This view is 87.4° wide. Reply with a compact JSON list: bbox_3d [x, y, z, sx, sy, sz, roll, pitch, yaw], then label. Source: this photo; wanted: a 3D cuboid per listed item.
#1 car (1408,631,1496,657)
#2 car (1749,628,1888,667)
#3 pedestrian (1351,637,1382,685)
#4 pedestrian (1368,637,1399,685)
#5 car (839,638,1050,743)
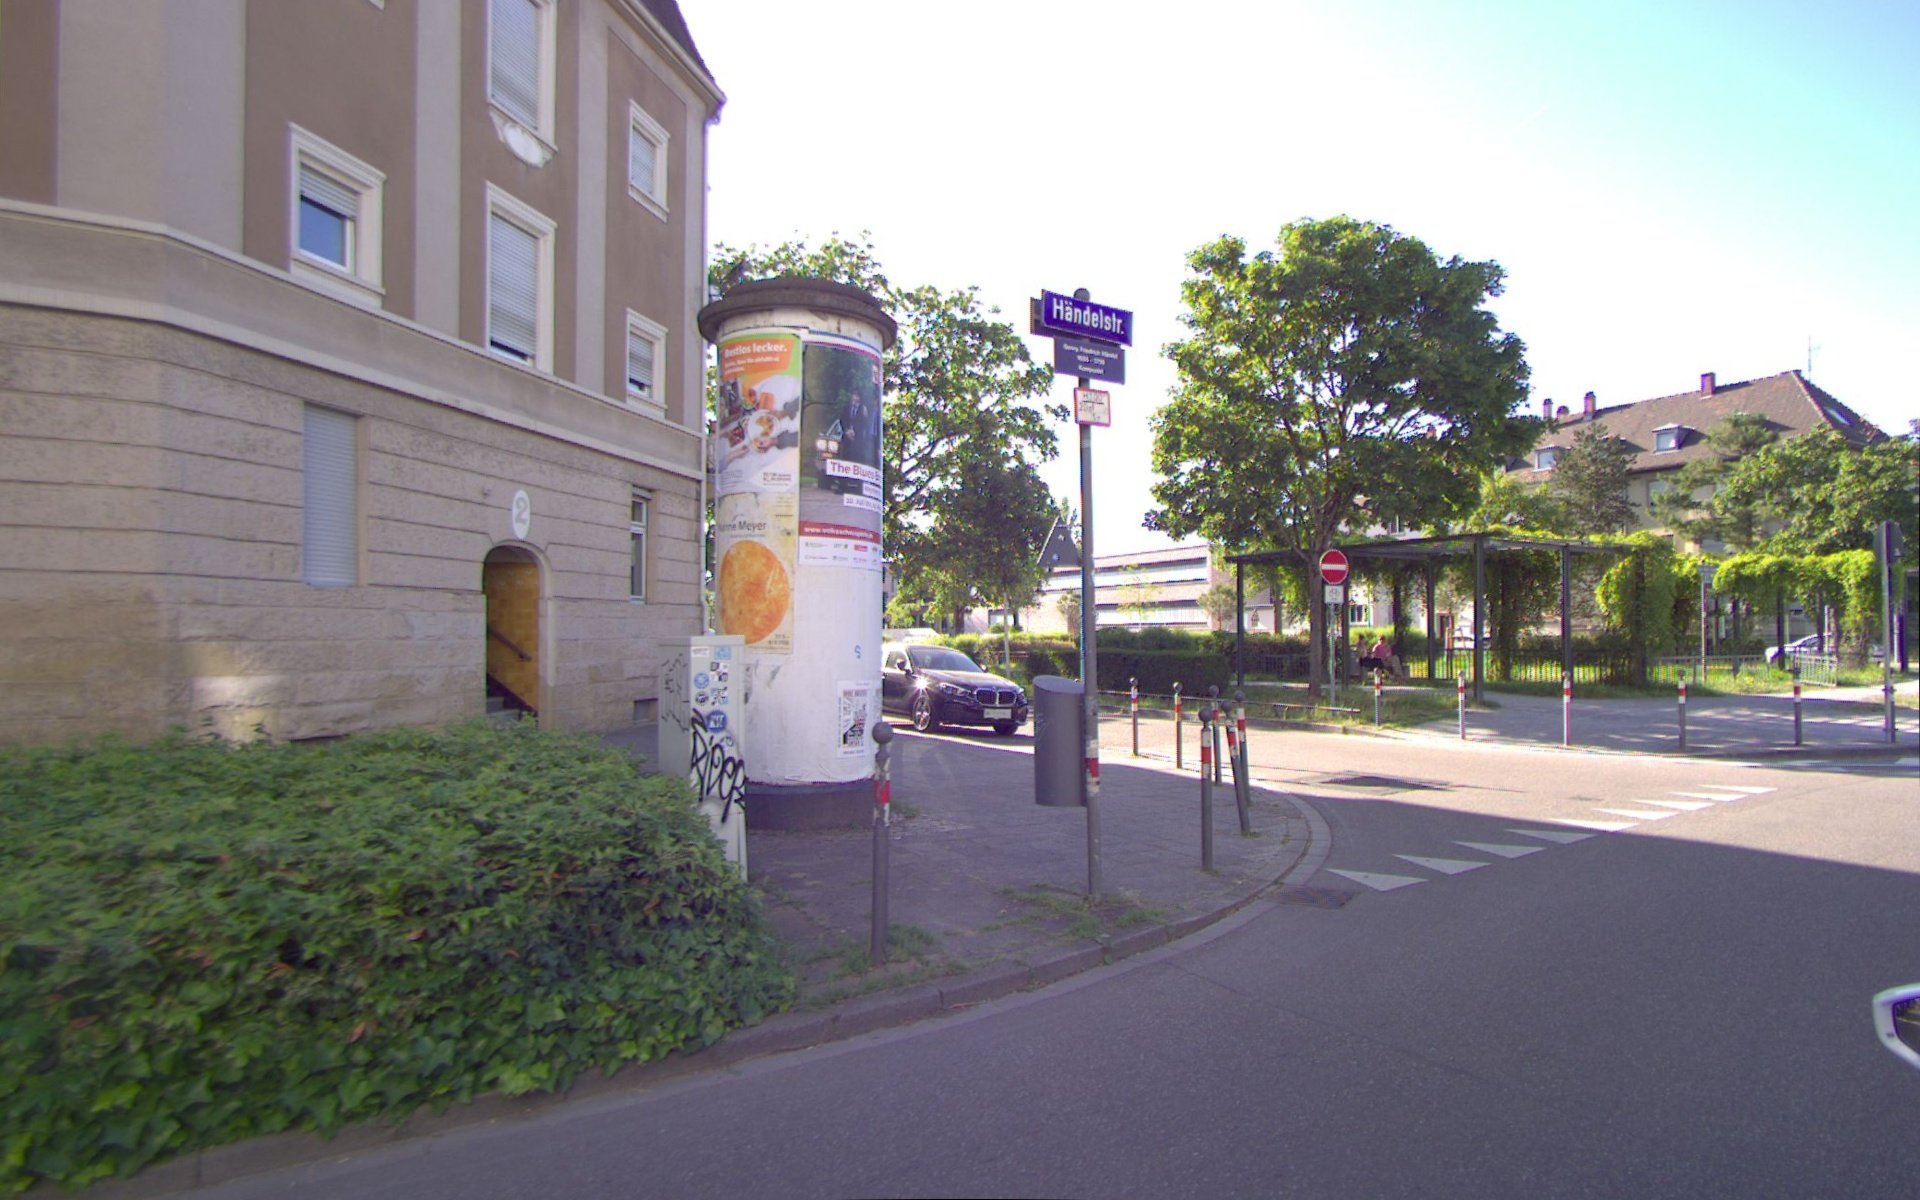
[{"bbox_3d":[27.100,2.419,55.407,1.847,1.394,3.964,1,-3,-33],"label":"car"},{"bbox_3d":[35.242,1.938,41.299,1.979,1.394,3.963,2,-1,-33],"label":"car"},{"bbox_3d":[10.209,1.532,25.233,0.541,1.184,0.479,2,-1,-31],"label":"pedestrian"},{"bbox_3d":[10.823,1.559,25.644,0.541,1.184,0.479,2,-1,-30],"label":"pedestrian"},{"bbox_3d":[-0.404,1.480,17.143,1.786,1.503,4.120,6,-5,-29],"label":"car"}]
